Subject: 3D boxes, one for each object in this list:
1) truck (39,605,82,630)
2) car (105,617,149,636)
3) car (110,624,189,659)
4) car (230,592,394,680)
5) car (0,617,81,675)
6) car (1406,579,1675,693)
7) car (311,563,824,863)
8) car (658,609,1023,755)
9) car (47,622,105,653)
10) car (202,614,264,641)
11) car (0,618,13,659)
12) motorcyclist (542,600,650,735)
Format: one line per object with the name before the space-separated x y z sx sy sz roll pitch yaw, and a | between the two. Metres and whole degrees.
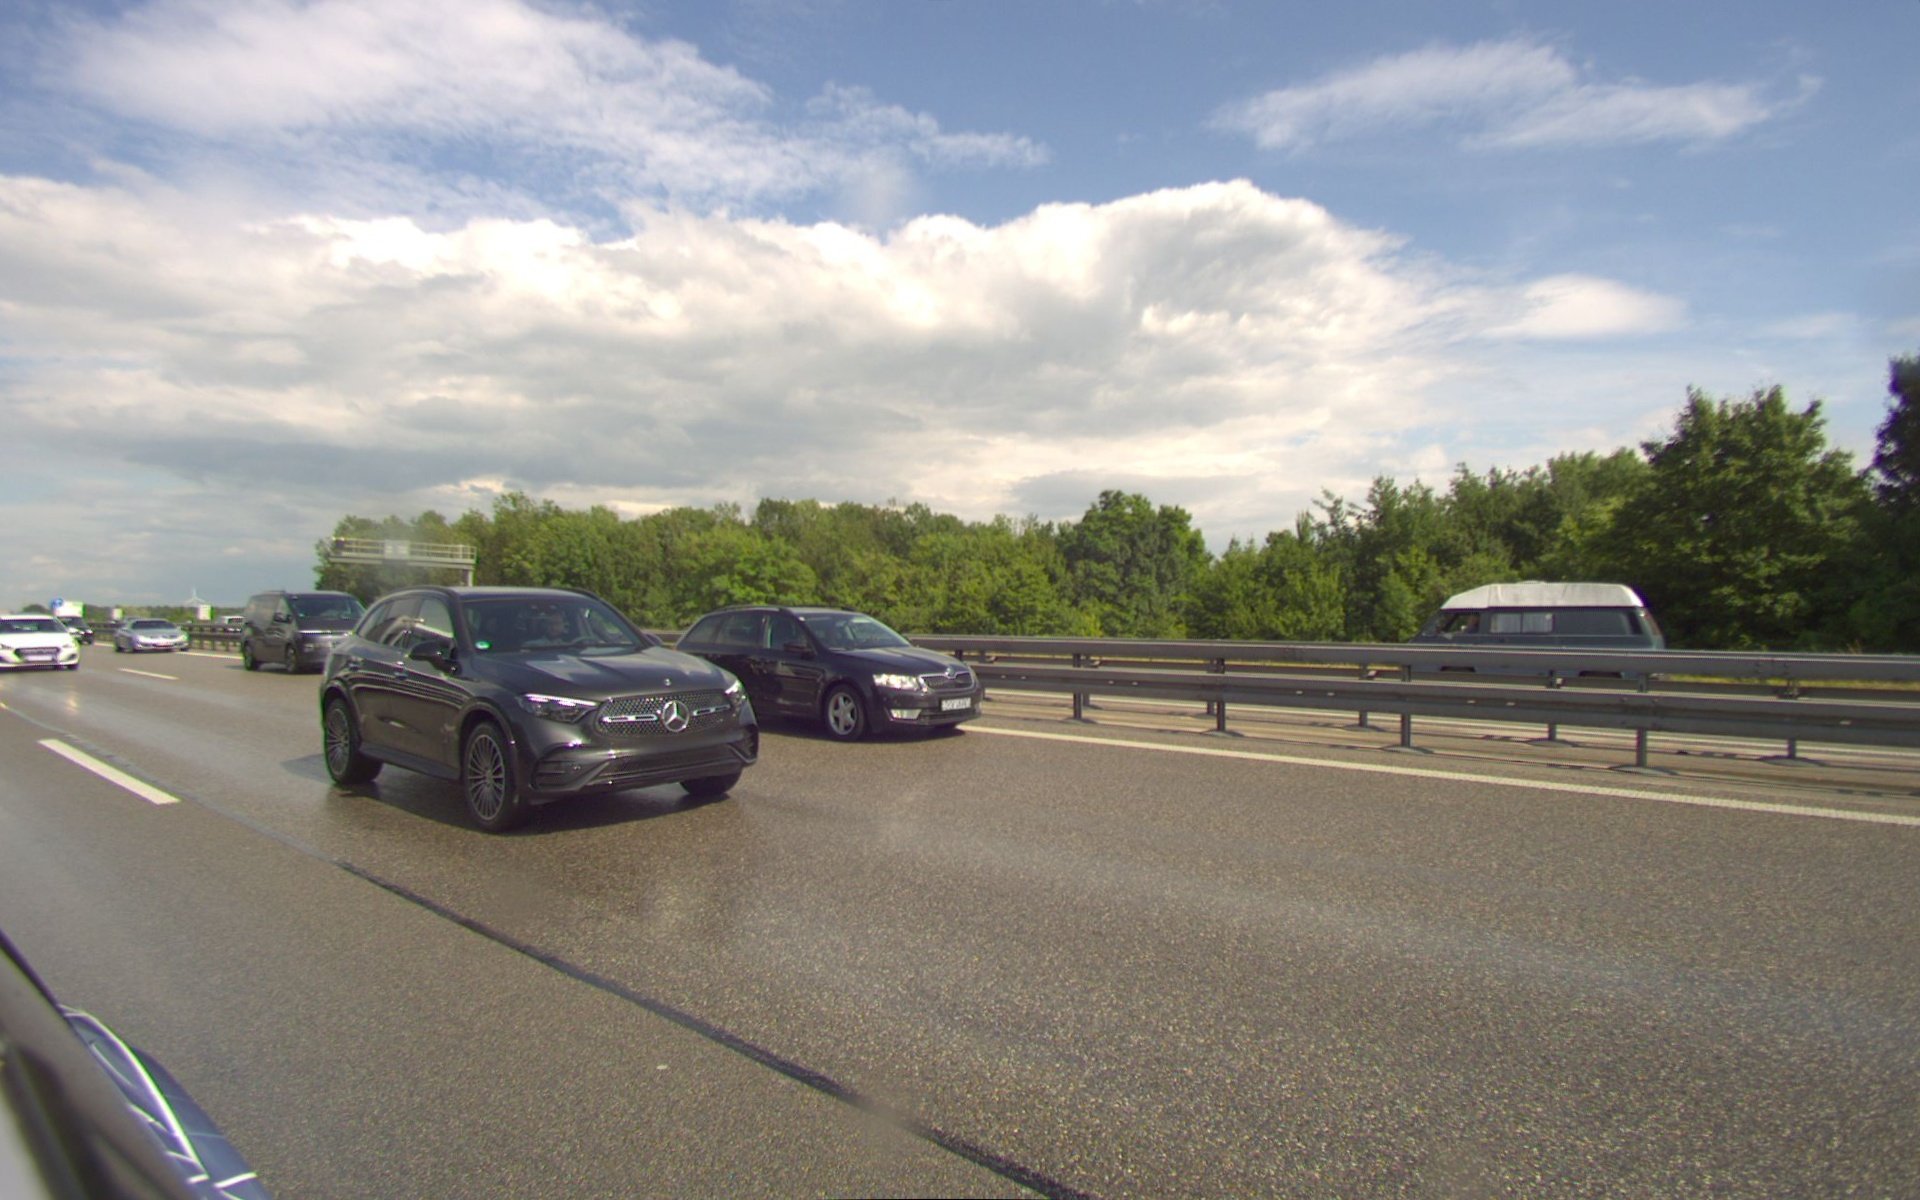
truck | -113.861 2.185 128.062 8.716 3.009 2.886 -1 0 41
car | -62.259 1.945 75.612 4.492 1.364 1.848 -1 -1 42
car | -30.710 1.529 38.324 3.583 1.198 1.832 -1 -1 43
car | -15.979 0.831 24.832 5.232 1.932 1.973 -1 -1 40
car | -24.590 1.160 26.553 4.238 1.408 1.785 -1 -1 42
car | 11.467 0.663 20.136 4.359 2.029 1.973 -1 -1 40
car | -3.296 0.666 7.949 4.624 1.692 1.857 -1 -1 41
car | -1.560 0.843 12.153 4.369 1.435 1.900 -1 -1 40
car | -42.980 1.784 49.179 3.998 1.431 1.597 -1 -1 41
car | -41.037 1.524 57.099 3.995 1.401 1.844 -1 0 39
car | -34.454 1.337 35.359 3.997 1.409 1.577 -1 -1 40
motorcyclist | -4.411 0.780 12.255 1.092 1.549 0.788 -1 -1 40
